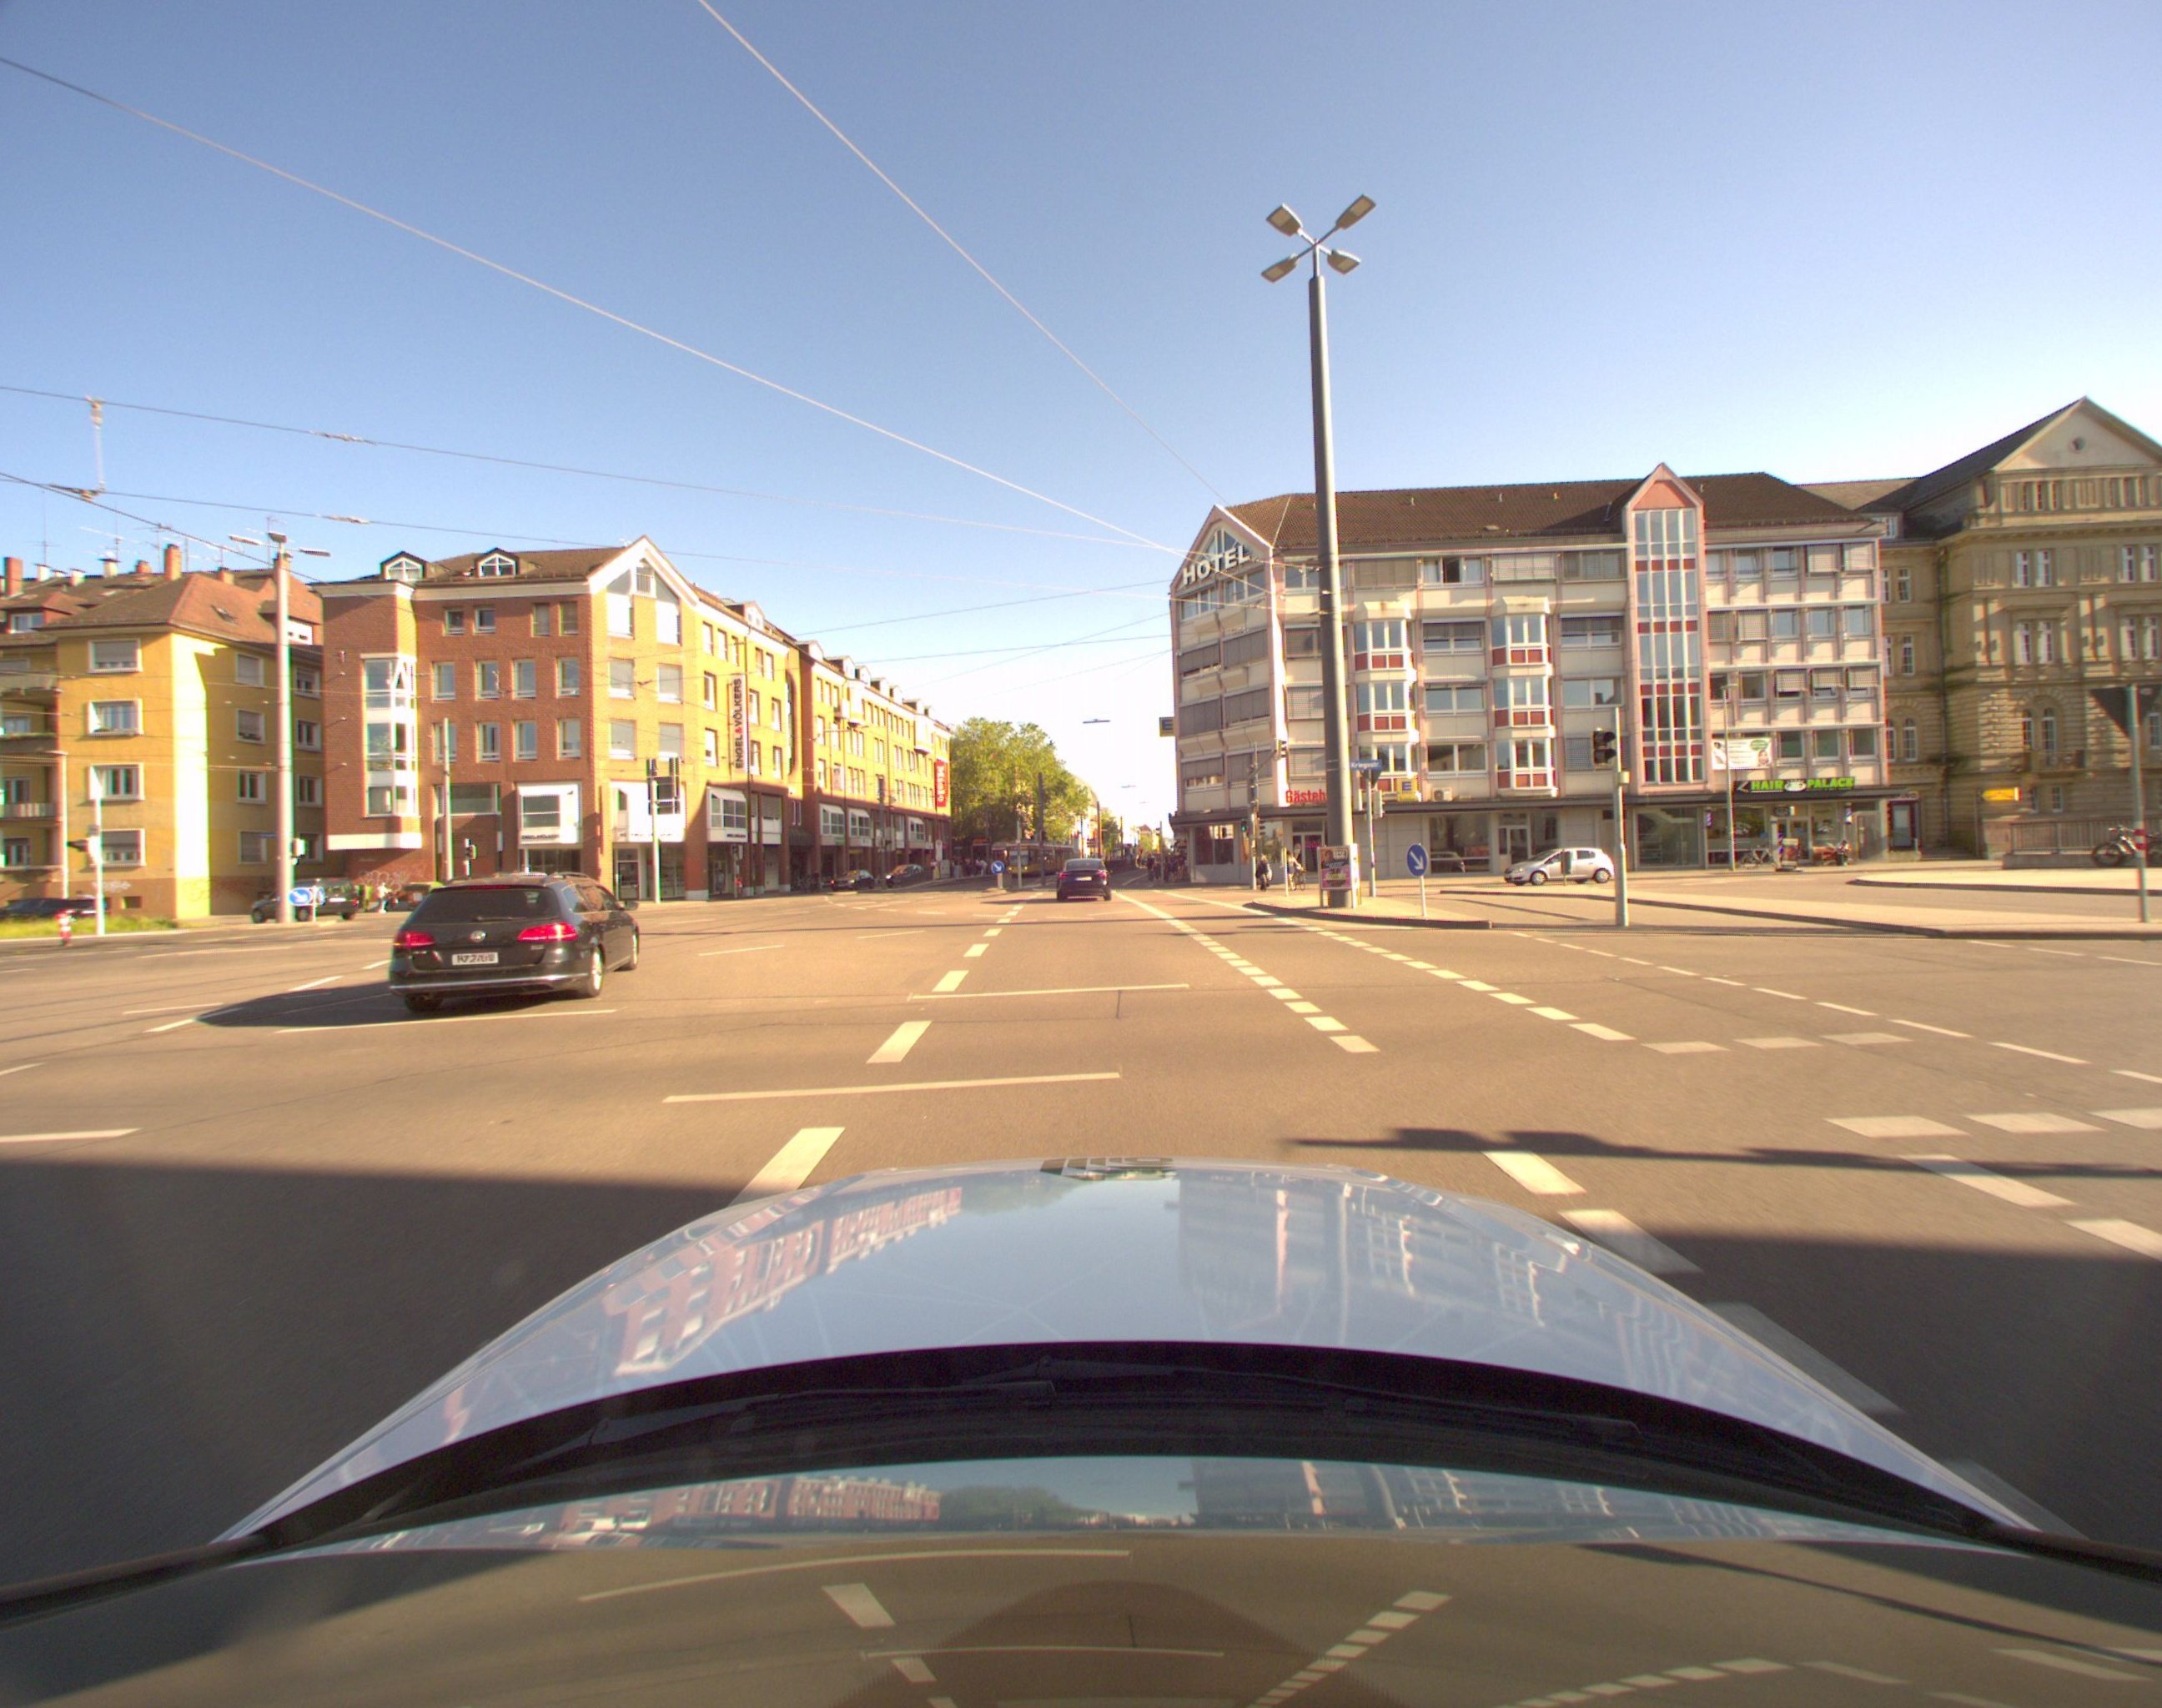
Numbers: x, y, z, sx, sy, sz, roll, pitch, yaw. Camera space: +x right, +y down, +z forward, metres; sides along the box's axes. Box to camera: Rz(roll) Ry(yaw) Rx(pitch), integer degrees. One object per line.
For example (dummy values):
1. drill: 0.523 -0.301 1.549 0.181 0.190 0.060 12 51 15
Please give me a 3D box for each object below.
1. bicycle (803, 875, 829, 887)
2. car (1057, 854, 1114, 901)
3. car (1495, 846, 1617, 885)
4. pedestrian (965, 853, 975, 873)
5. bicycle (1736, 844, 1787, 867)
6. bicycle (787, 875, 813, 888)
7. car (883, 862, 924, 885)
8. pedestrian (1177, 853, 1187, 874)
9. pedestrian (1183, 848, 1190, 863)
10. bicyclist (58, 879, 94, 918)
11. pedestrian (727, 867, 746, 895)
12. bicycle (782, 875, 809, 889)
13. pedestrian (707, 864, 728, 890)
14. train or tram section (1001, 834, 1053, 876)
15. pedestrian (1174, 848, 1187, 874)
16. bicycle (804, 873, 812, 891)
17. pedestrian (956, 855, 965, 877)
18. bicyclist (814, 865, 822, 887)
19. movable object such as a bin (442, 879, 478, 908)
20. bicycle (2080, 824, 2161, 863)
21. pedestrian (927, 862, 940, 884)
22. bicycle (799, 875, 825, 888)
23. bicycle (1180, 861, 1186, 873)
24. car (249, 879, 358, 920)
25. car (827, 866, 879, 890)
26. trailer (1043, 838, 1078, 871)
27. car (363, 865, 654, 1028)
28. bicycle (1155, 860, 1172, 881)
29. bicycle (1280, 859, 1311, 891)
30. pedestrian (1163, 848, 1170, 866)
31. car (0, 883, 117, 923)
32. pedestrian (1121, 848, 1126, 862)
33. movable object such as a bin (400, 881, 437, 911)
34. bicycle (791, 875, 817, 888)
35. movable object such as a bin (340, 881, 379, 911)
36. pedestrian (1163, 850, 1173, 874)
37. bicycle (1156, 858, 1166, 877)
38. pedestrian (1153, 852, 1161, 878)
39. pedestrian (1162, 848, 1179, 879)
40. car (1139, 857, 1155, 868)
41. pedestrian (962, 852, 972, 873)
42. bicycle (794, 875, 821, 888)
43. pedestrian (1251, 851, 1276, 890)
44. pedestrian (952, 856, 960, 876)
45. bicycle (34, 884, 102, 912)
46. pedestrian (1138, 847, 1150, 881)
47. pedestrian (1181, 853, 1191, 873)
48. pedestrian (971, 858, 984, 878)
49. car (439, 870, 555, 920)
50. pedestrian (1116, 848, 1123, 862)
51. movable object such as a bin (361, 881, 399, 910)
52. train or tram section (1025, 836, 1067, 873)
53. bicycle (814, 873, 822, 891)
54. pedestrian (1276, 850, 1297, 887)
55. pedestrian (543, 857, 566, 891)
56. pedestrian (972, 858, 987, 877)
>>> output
1. bicycle: -19.490 1.982 59.871 1.702 0.900 0.522 -1 0 5
2. car: 0.186 0.790 28.029 1.784 1.451 3.940 -2 -1 1
3. car: 19.051 0.463 32.796 3.823 1.432 1.805 -1 -2 4
4. pedestrian: -9.285 0.742 68.163 0.630 1.721 0.611 -1 0 15
5. bicycle: 32.022 0.070 38.330 1.960 1.049 0.536 -1 0 1
6. bicycle: -19.781 1.953 57.348 1.702 0.900 0.522 -1 0 5
7. car: -12.800 1.382 58.938 1.809 1.544 3.797 -3 0 5
8. pedestrian: 8.067 0.744 65.014 0.693 1.677 0.751 -1 0 7
9. pedestrian: 12.337 0.187 95.115 0.837 1.756 0.789 -1 0 7
10. bicyclist: -46.968 2.056 38.059 0.827 1.771 0.612 -1 0 -9
11. pedestrian: -20.659 1.619 48.846 0.708 1.594 0.778 2 0 7
12. bicycle: -19.851 1.957 56.711 1.702 0.900 0.522 -1 0 5
13. pedestrian: -23.013 1.456 51.565 0.875 1.568 0.869 -1 0 30
14. train or tram section: -4.828 0.095 74.901 2.714 3.542 10.107 -1 0 7
15. pedestrian: 6.422 0.455 52.441 0.686 1.688 0.670 -1 0 -7
16. bicycle: -18.436 1.855 55.037 0.492 1.158 1.705 -1 0 -20
17. pedestrian: -9.635 0.950 65.189 0.636 1.721 0.582 -1 0 -14
18. bicyclist: -17.836 1.453 55.155 0.483 1.470 0.714 -1 0 -20
19. movable object such as a bin: -31.716 2.004 41.606 0.992 1.436 1.096 -1 0 0
20. bicycle: 29.810 -0.288 23.091 0.592 1.080 1.997 0 0 3
21. pedestrian: -10.607 1.349 58.574 0.629 1.564 0.589 -1 0 26
22. bicycle: -19.564 1.978 59.274 1.702 0.900 0.522 -1 0 5
23. bicycle: 7.438 0.918 59.290 0.412 0.857 1.240 -1 0 9
24. car: -32.194 1.870 33.745 3.742 1.618 1.584 -1 0 16
25. car: -15.760 1.627 56.427 1.805 1.454 3.990 -3 0 11
26. trailer: -2.290 0.046 94.633 2.699 3.546 9.377 -1 0 7
27. car: -6.759 0.917 10.234 1.770 1.444 4.499 -1 1 -19
28. bicycle: 4.767 0.947 47.136 0.488 1.161 1.966 -1 0 -10
29. bicycle: 9.060 0.858 34.443 0.543 1.285 1.901 -1 0 -10
30. pedestrian: 9.298 0.335 88.590 0.693 1.896 0.751 -1 0 7
31. car: -43.950 2.087 34.873 3.445 1.551 1.733 -1 0 5
32. pedestrian: 5.402 0.086 103.713 0.675 1.769 0.664 -1 0 4
33. movable object such as a bin: -33.977 2.144 41.781 0.992 1.436 1.096 -1 0 0
34. bicycle: -19.702 1.971 57.936 1.702 0.900 0.522 -1 0 5
35. movable object such as a bin: -37.213 2.153 42.020 0.992 1.436 1.096 -1 0 0
36. pedestrian: 6.287 0.564 58.743 0.693 1.677 0.751 -1 0 7
37. bicycle: 4.839 0.795 49.243 0.485 1.102 2.129 -1 0 7
38. pedestrian: 4.644 0.655 49.804 0.469 1.562 0.545 -1 0 3
39. pedestrian: 5.205 0.560 47.352 0.909 1.754 0.841 -1 0 8
40. car: 10.258 1.285 125.815 1.724 1.664 3.725 -1 0 16
41. pedestrian: -9.473 0.741 67.551 0.630 1.721 0.588 -1 0 15
42. bicycle: -19.639 1.963 58.528 1.751 0.900 0.587 -1 0 5
43. pedestrian: 7.615 0.682 33.954 0.778 1.576 0.866 -1 1 -6
44. pedestrian: -9.290 0.893 60.522 0.583 1.531 0.636 -1 0 -8
45. bicycle: -47.233 2.043 37.974 2.035 1.223 0.626 -1 0 -12
46. pedestrian: 3.370 0.523 43.681 0.624 1.782 0.918 -1 0 2
47. pedestrian: 8.776 0.734 67.934 0.743 1.677 0.700 -1 0 8
48. pedestrian: -8.804 1.184 69.516 0.996 1.624 0.847 -1 0 -1
49. car: -20.660 1.408 28.798 3.443 1.635 1.856 -1 0 25
50. pedestrian: 4.846 0.089 102.384 0.753 1.769 0.700 -1 0 6
51. movable object such as a bin: -36.144 2.136 42.010 0.992 1.436 1.096 -1 0 0
52. train or tram section: -3.524 0.052 84.938 2.699 3.546 10.189 -1 0 7
53. bicycle: -17.842 1.866 55.202 0.492 1.158 1.671 -1 0 -19
54. pedestrian: 8.740 0.604 34.599 0.525 1.554 0.864 -1 0 -10
55. pedestrian: -27.089 1.029 41.923 0.685 1.727 0.711 -1 0 0
56. pedestrian: -8.777 1.144 70.431 1.102 1.624 0.847 -1 0 -1
